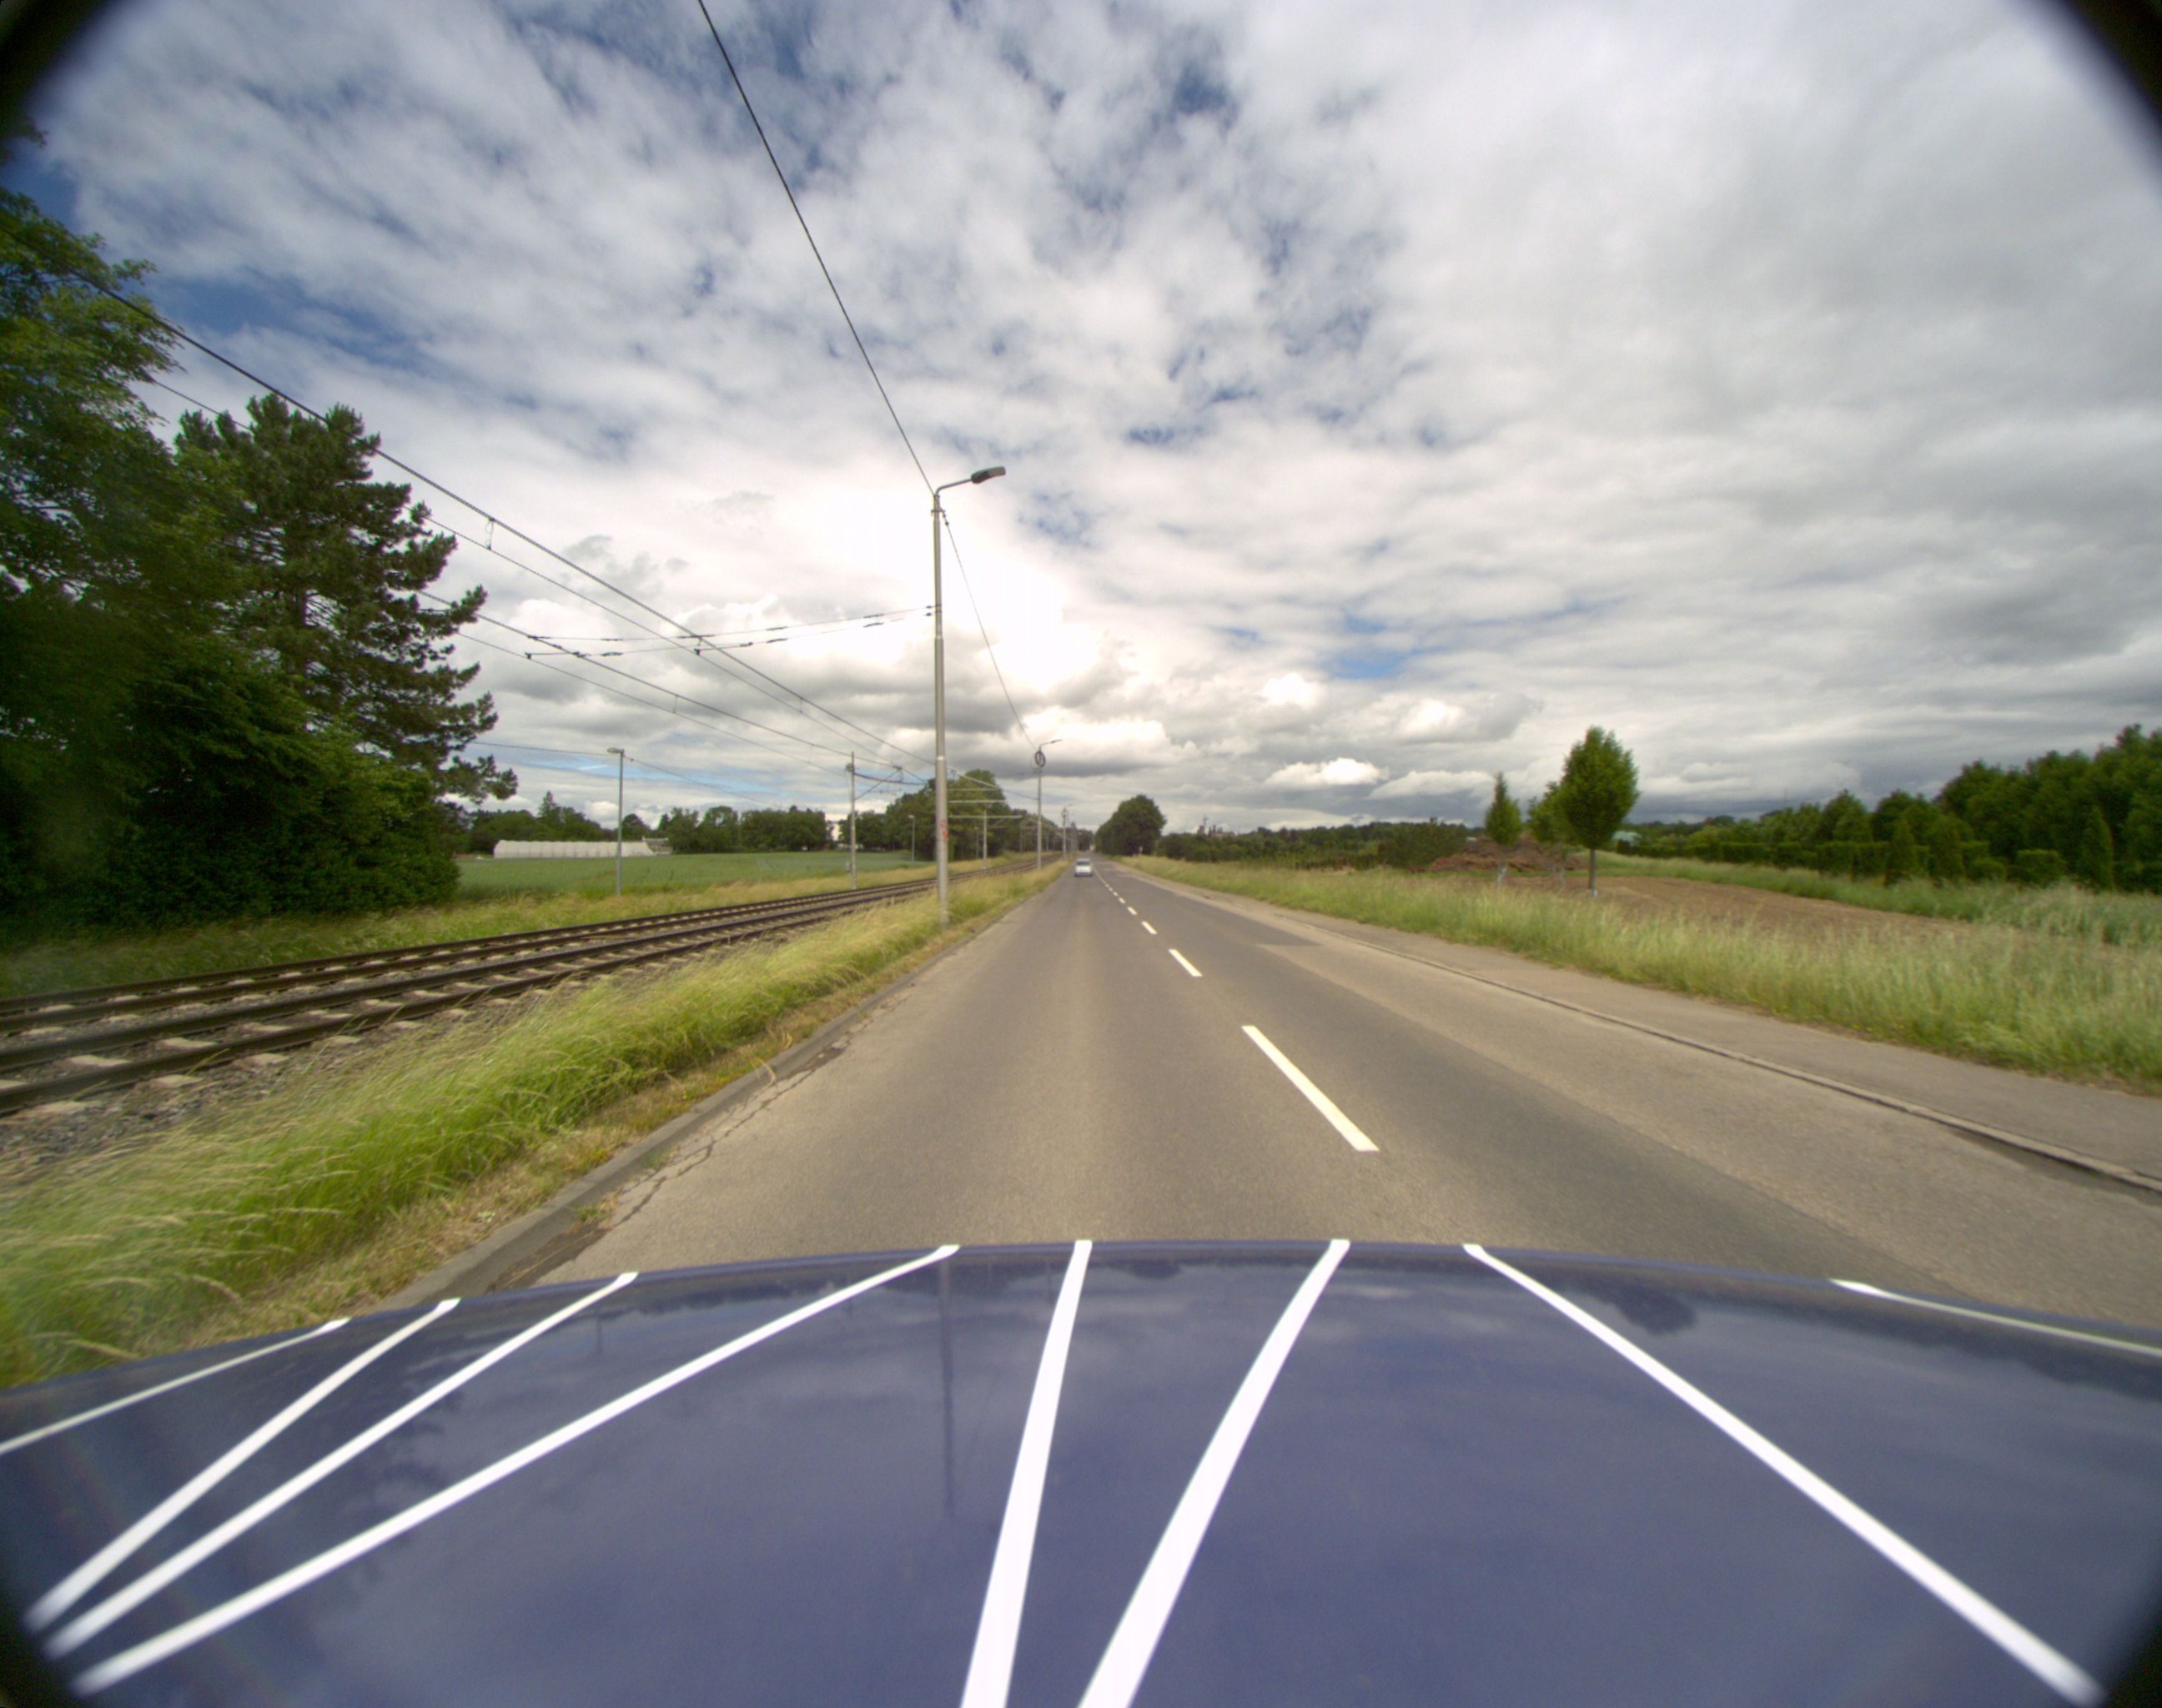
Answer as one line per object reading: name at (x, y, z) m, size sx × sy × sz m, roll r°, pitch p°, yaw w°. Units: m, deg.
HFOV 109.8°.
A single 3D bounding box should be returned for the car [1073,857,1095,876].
car at (0.257, 1.180, 72.081) m, size 1.999 × 1.679 × 3.999 m, roll 3°, pitch 0°, yaw -1°
